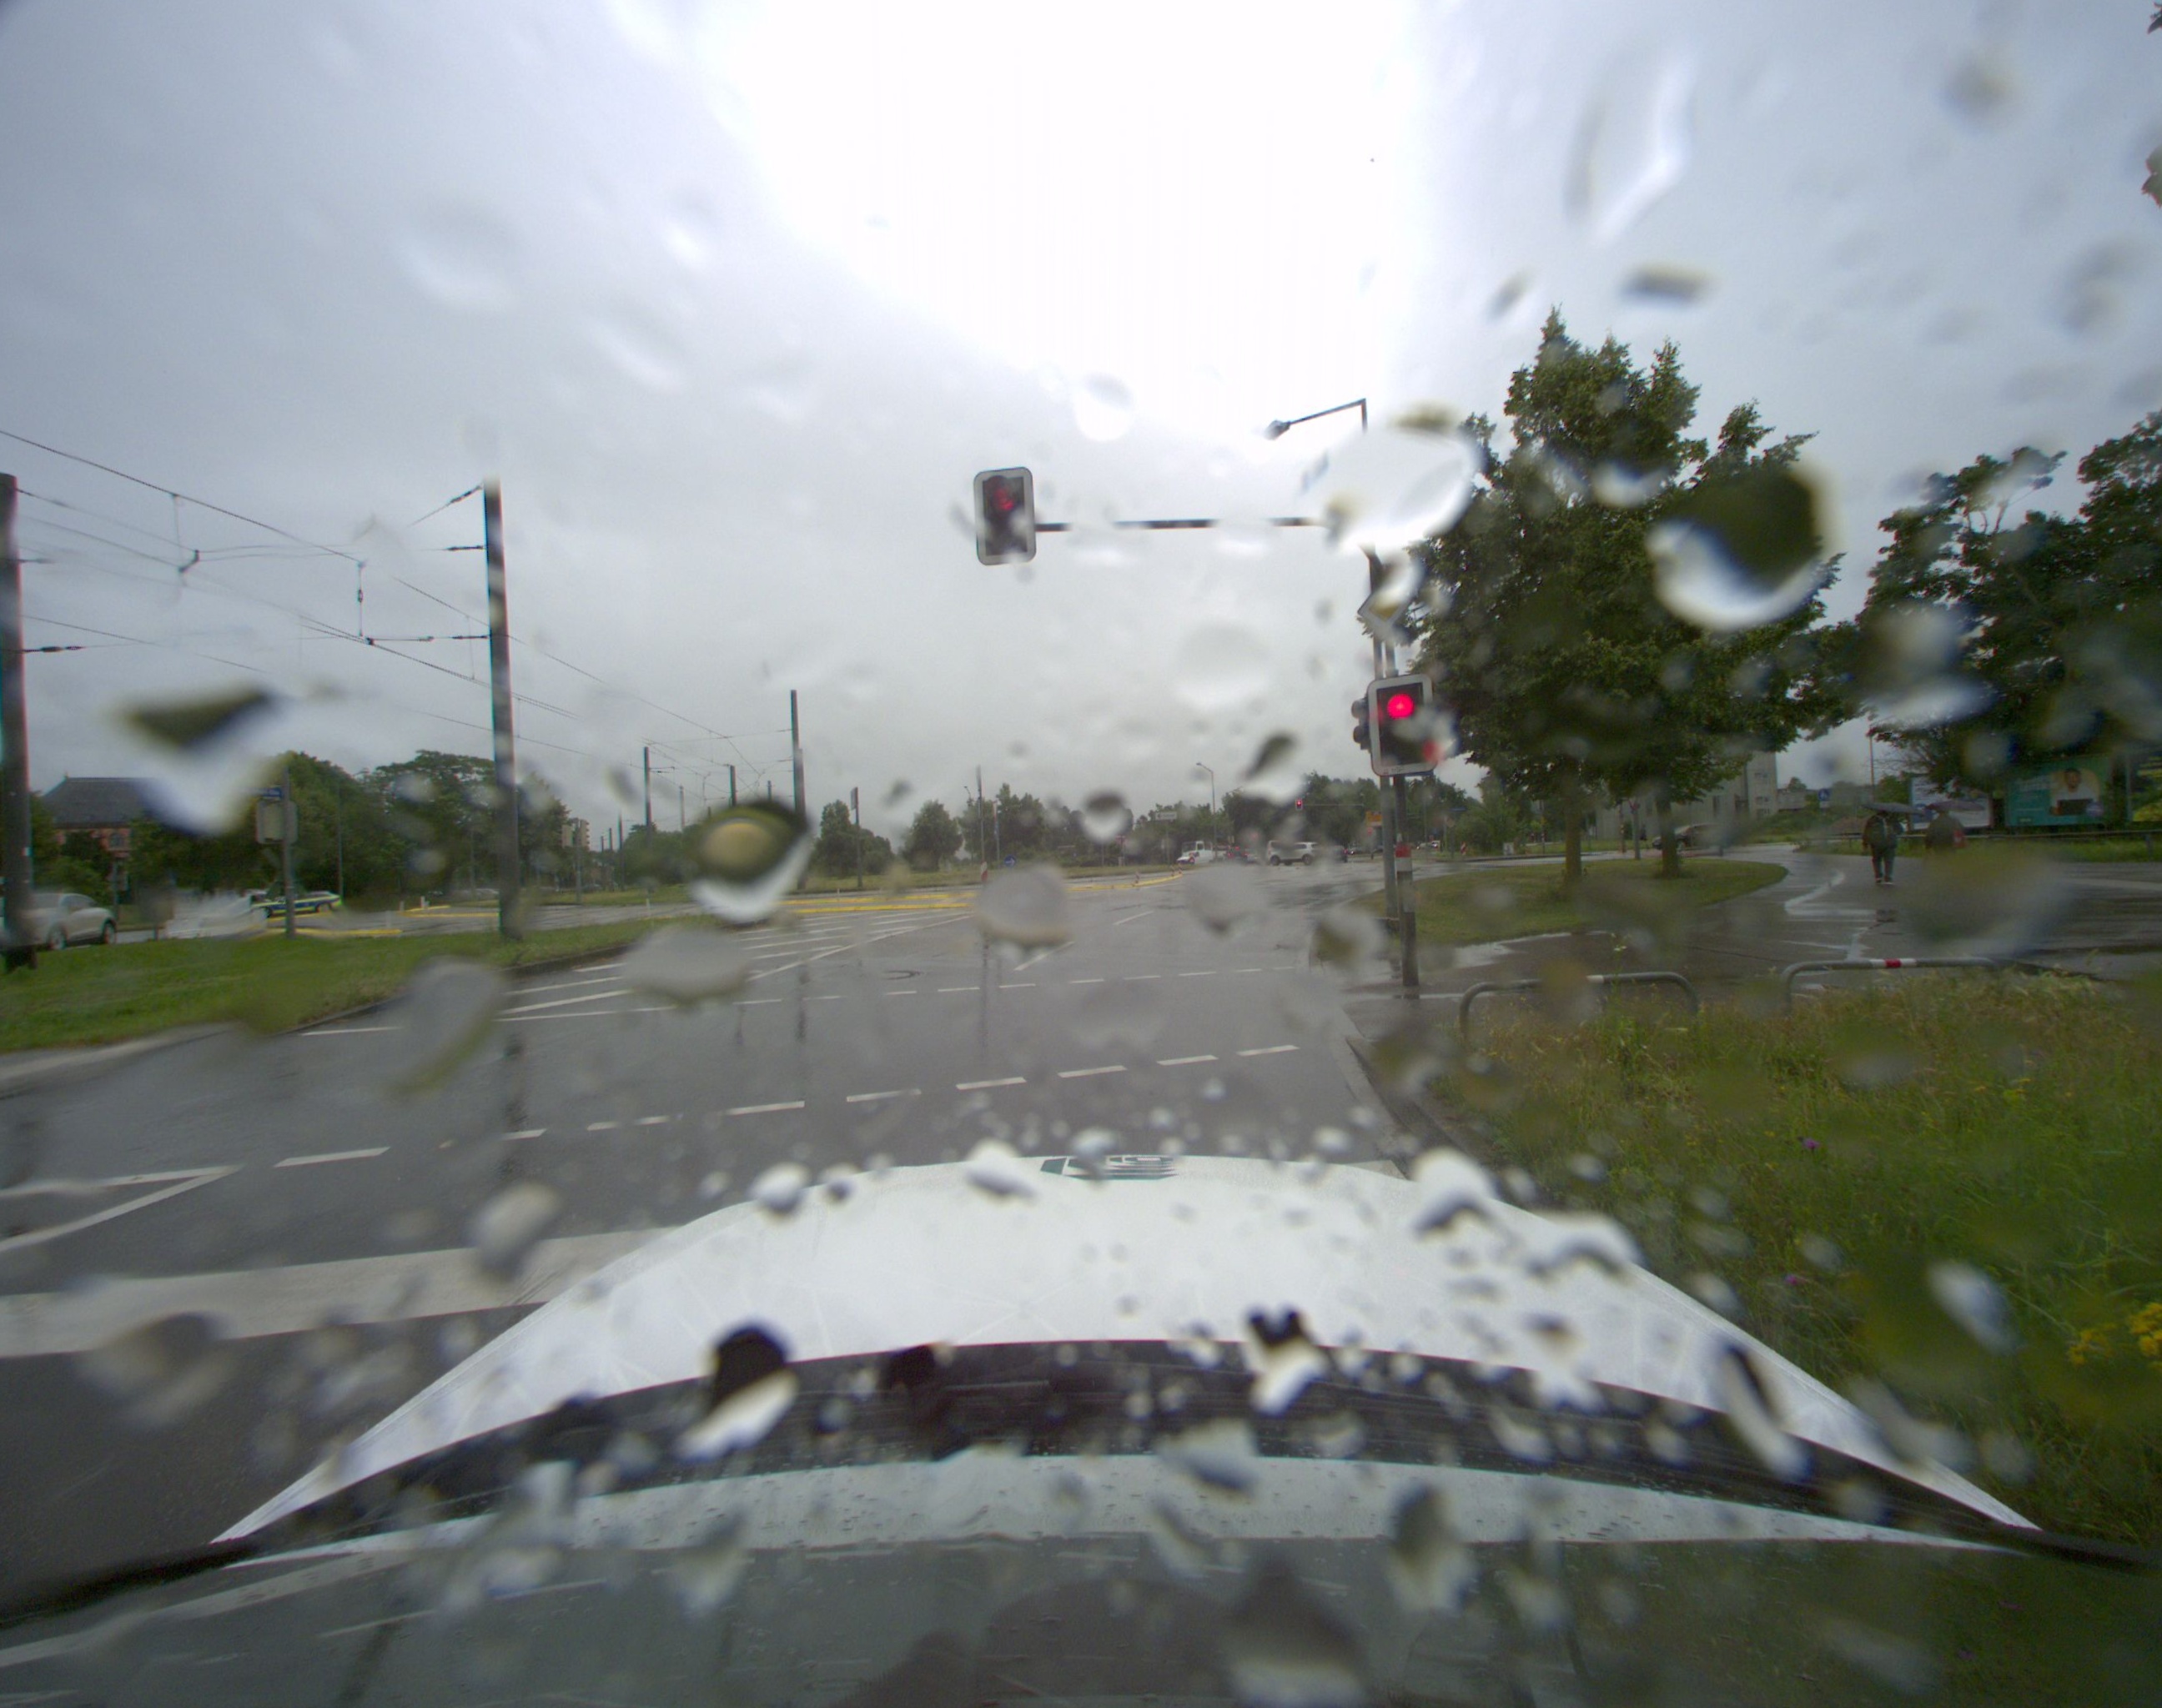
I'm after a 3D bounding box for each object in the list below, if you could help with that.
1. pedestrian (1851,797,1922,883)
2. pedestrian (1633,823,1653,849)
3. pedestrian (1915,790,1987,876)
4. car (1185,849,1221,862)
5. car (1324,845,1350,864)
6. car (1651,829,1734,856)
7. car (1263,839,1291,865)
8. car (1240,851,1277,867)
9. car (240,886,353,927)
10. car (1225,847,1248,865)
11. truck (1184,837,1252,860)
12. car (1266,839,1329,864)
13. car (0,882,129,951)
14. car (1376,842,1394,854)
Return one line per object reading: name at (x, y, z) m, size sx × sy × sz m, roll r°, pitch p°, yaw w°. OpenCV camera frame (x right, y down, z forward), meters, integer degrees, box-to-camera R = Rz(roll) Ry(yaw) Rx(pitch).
pedestrian at (17.262, -0.290, 17.464) m, size 0.811 × 1.784 × 0.914 m, roll 0°, pitch -1°, yaw -33°
pedestrian at (39.894, -1.262, 57.839) m, size 0.947 × 1.772 × 0.715 m, roll -1°, pitch -1°, yaw 11°
pedestrian at (18.759, -0.438, 17.558) m, size 0.811 × 1.784 × 0.914 m, roll 0°, pitch -1°, yaw -33°
car at (14.055, 0.209, 93.706) m, size 4.574 × 1.492 × 1.592 m, roll 0°, pitch -1°, yaw -43°
car at (21.331, -0.002, 67.927) m, size 1.677 × 1.492 × 3.262 m, roll -3°, pitch 0°, yaw 12°
car at (38.643, -0.700, 51.553) m, size 3.977 × 1.648 × 1.788 m, roll 0°, pitch -1°, yaw -2°
car at (16.016, -0.146, 66.705) m, size 1.774 × 2.036 × 4.008 m, roll -1°, pitch -1°, yaw 7°
car at (16.501, 0.461, 75.552) m, size 3.137 × 1.372 × 1.379 m, roll 0°, pitch -1°, yaw -24°
car at (-50.320, 3.312, 52.362) m, size 1.975 × 2.327 × 4.870 m, roll -1°, pitch -1°, yaw 26°
car at (13.441, 0.176, 70.437) m, size 1.680 × 1.492 × 3.257 m, roll 0°, pitch -1°, yaw 7°
truck at (16.774, -0.607, 99.594) m, size 8.820 × 2.711 × 1.981 m, roll 0°, pitch -1°, yaw -29°
car at (15.137, -0.145, 57.076) m, size 3.897 × 1.648 × 1.696 m, roll -1°, pitch -1°, yaw 43°
car at (-26.038, 1.497, 20.236) m, size 1.858 × 1.486 × 4.184 m, roll 0°, pitch -1°, yaw -31°
car at (53.338, -1.101, 142.929) m, size 1.771 × 2.014 × 3.697 m, roll -1°, pitch -1°, yaw 39°
